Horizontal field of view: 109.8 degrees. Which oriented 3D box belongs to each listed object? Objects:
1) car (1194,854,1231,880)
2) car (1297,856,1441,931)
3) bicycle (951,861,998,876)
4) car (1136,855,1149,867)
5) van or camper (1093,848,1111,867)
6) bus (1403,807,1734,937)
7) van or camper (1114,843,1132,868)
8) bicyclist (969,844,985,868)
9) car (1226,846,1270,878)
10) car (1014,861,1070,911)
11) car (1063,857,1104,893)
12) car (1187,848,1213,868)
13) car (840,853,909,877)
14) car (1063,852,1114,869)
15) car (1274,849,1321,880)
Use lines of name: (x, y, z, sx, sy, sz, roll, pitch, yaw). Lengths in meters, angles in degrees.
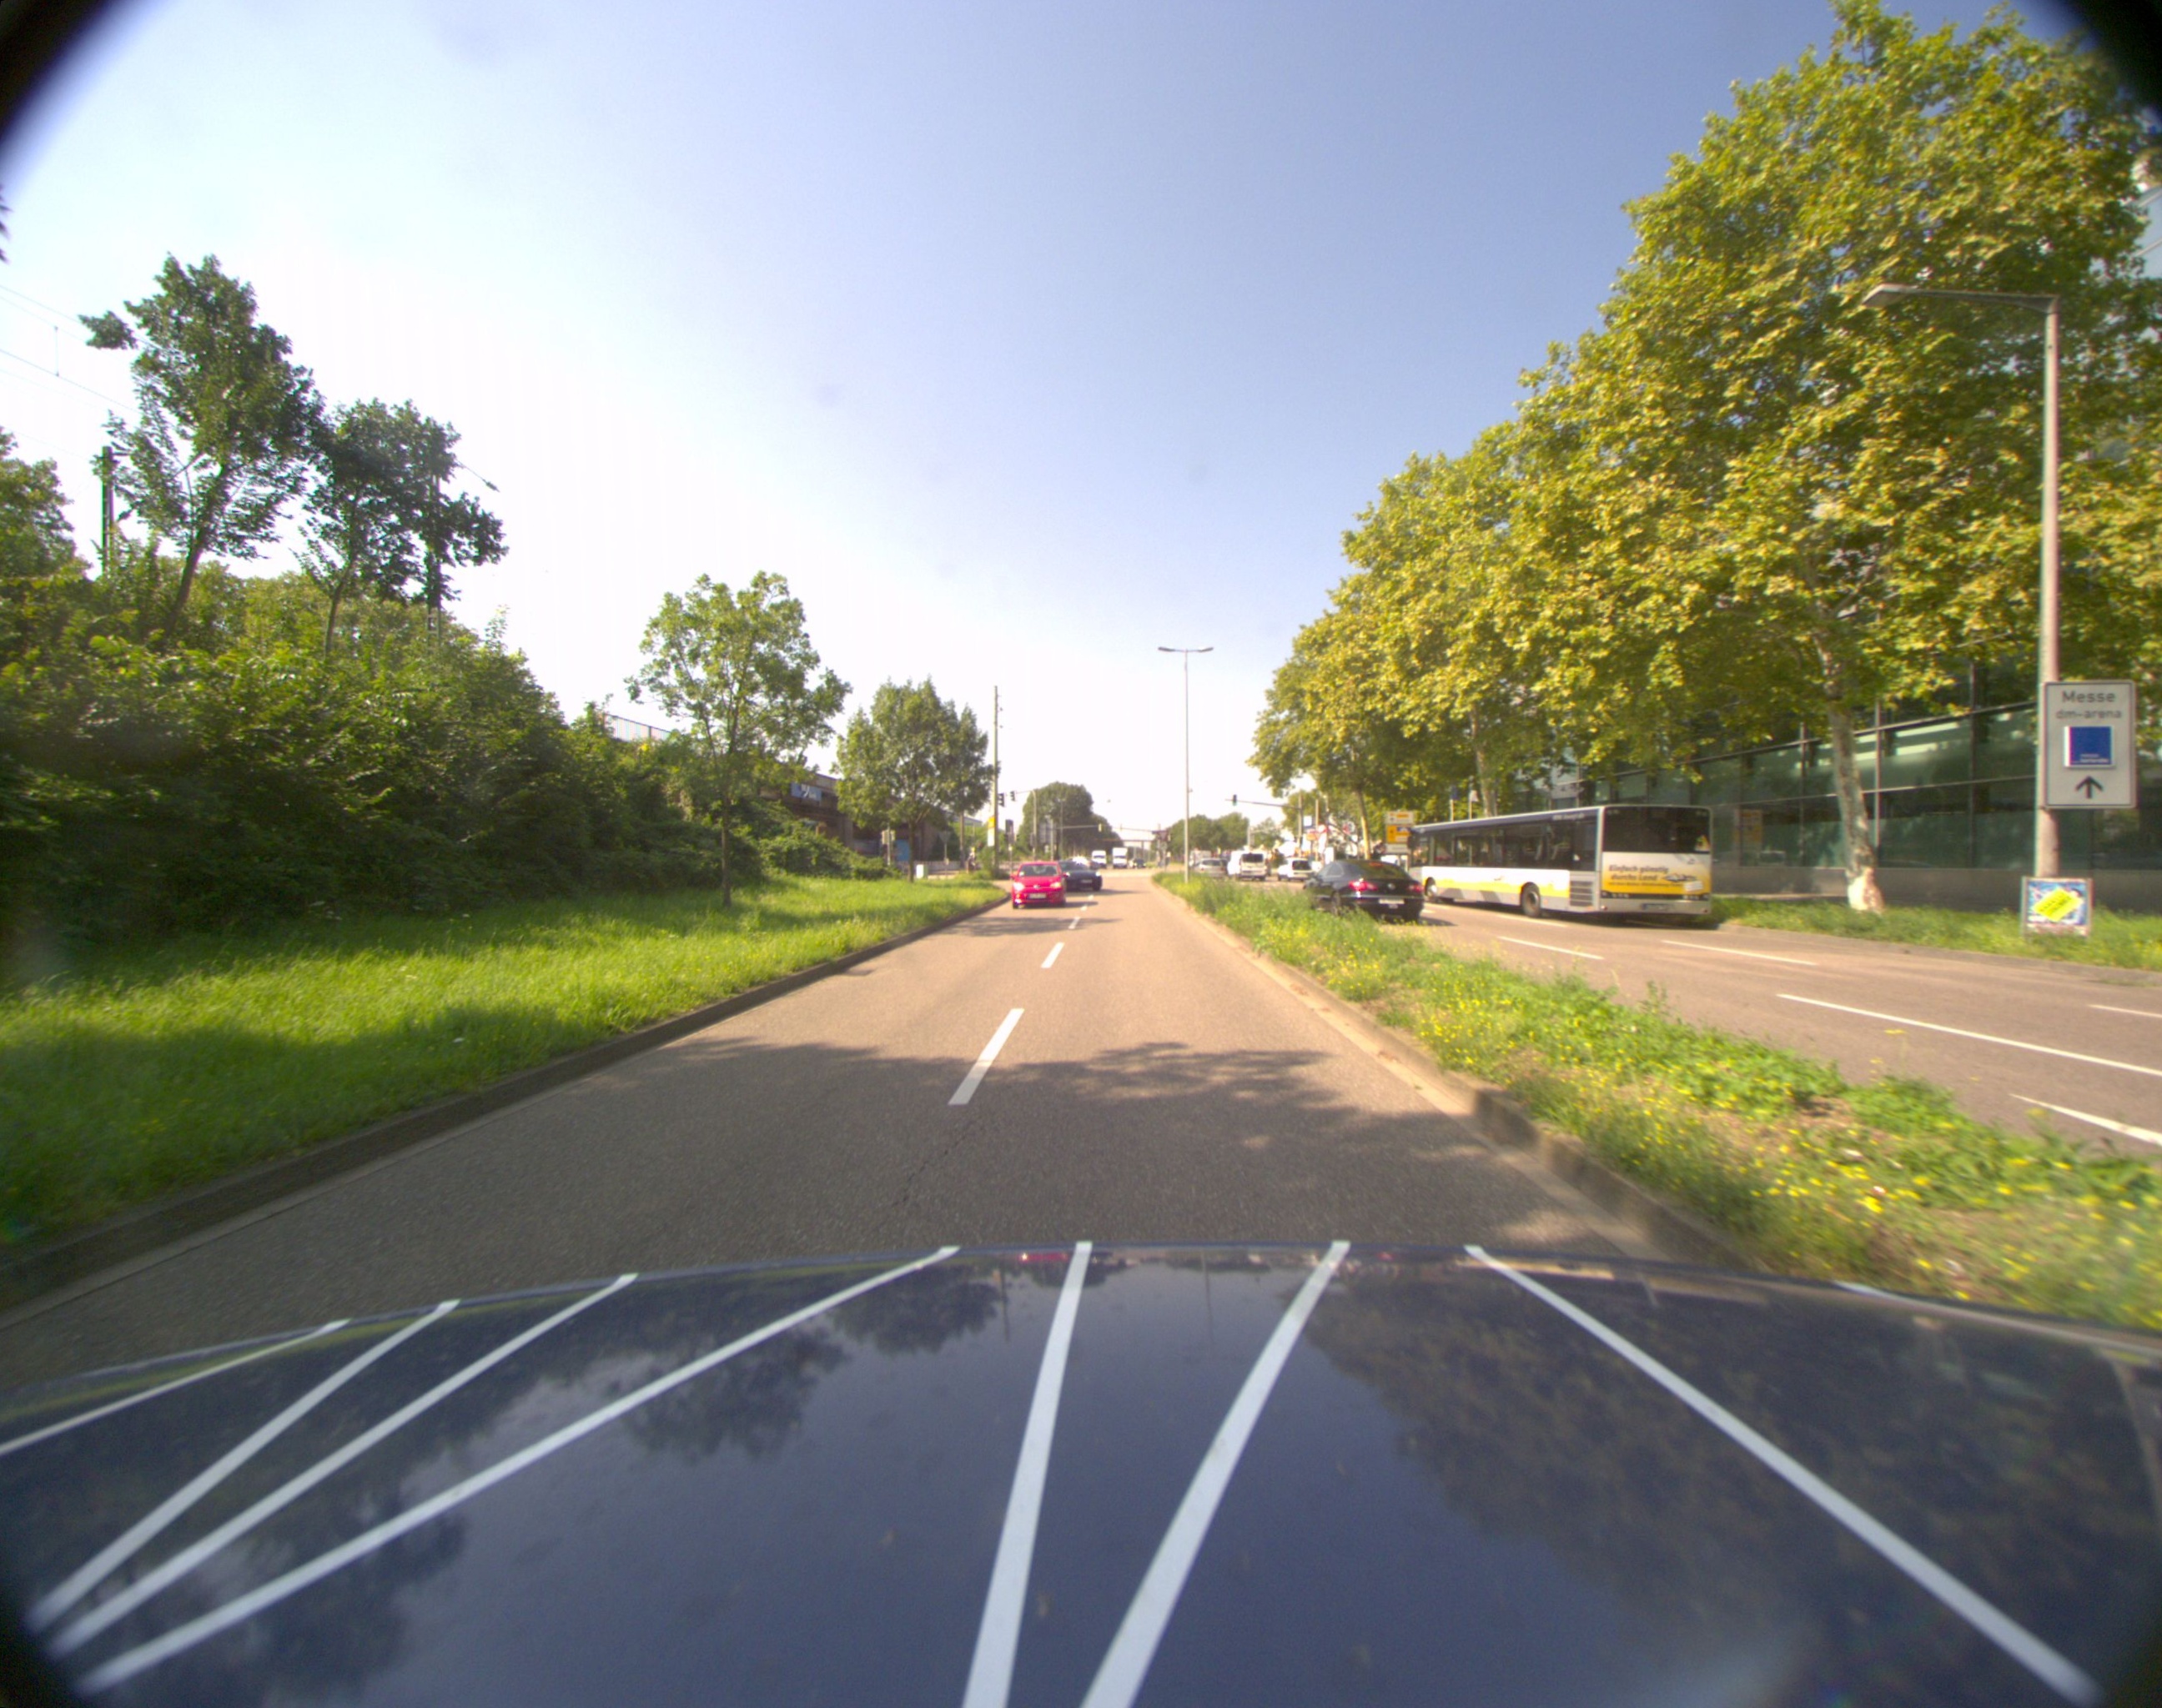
car: (8.064, 0.795, 46.893, 1.618, 1.526, 4.102, 2, -1, 2)
car: (6.618, 0.818, 18.067, 1.850, 1.481, 4.644, 1, 0, 3)
bicycle: (-7.398, 0.990, 52.912, 2.982, 1.043, 1.233, 0, 0, -24)
car: (9.206, 1.120, 113.272, 1.904, 1.603, 5.200, -2, -2, 5)
van or camper: (3.057, 0.546, 109.089, 2.247, 2.467, 6.870, -2, -2, 3)
bus: (12.634, 0.337, 21.559, 2.668, 2.678, 10.907, 2, 0, 2)
van or camper: (6.260, 0.239, 112.548, 2.247, 3.341, 6.856, -2, -2, 5)
bicyclist: (-7.246, 0.161, 53.008, 0.971, 1.648, 0.711, 0, 0, -24)
car: (10.985, 0.501, 50.311, 1.931, 1.949, 5.190, 2, 1, 3)
car: (-1.346, 0.985, 24.907, 1.643, 1.458, 3.552, -2, 0, -5)
car: (0.076, 0.931, 35.402, 1.643, 1.459, 3.552, -3, 0, -3)
car: (11.737, 0.440, 75.381, 1.932, 1.946, 5.214, 0, -1, 2)
car: (-14.932, 0.783, 55.001, 4.481, 1.608, 1.903, 0, 1, -30)
car: (0.691, 0.640, 71.209, 4.592, 1.434, 1.845, 2, 0, 40)
car: (14.058, 0.663, 49.606, 1.932, 1.885, 3.976, 2, 1, 1)
